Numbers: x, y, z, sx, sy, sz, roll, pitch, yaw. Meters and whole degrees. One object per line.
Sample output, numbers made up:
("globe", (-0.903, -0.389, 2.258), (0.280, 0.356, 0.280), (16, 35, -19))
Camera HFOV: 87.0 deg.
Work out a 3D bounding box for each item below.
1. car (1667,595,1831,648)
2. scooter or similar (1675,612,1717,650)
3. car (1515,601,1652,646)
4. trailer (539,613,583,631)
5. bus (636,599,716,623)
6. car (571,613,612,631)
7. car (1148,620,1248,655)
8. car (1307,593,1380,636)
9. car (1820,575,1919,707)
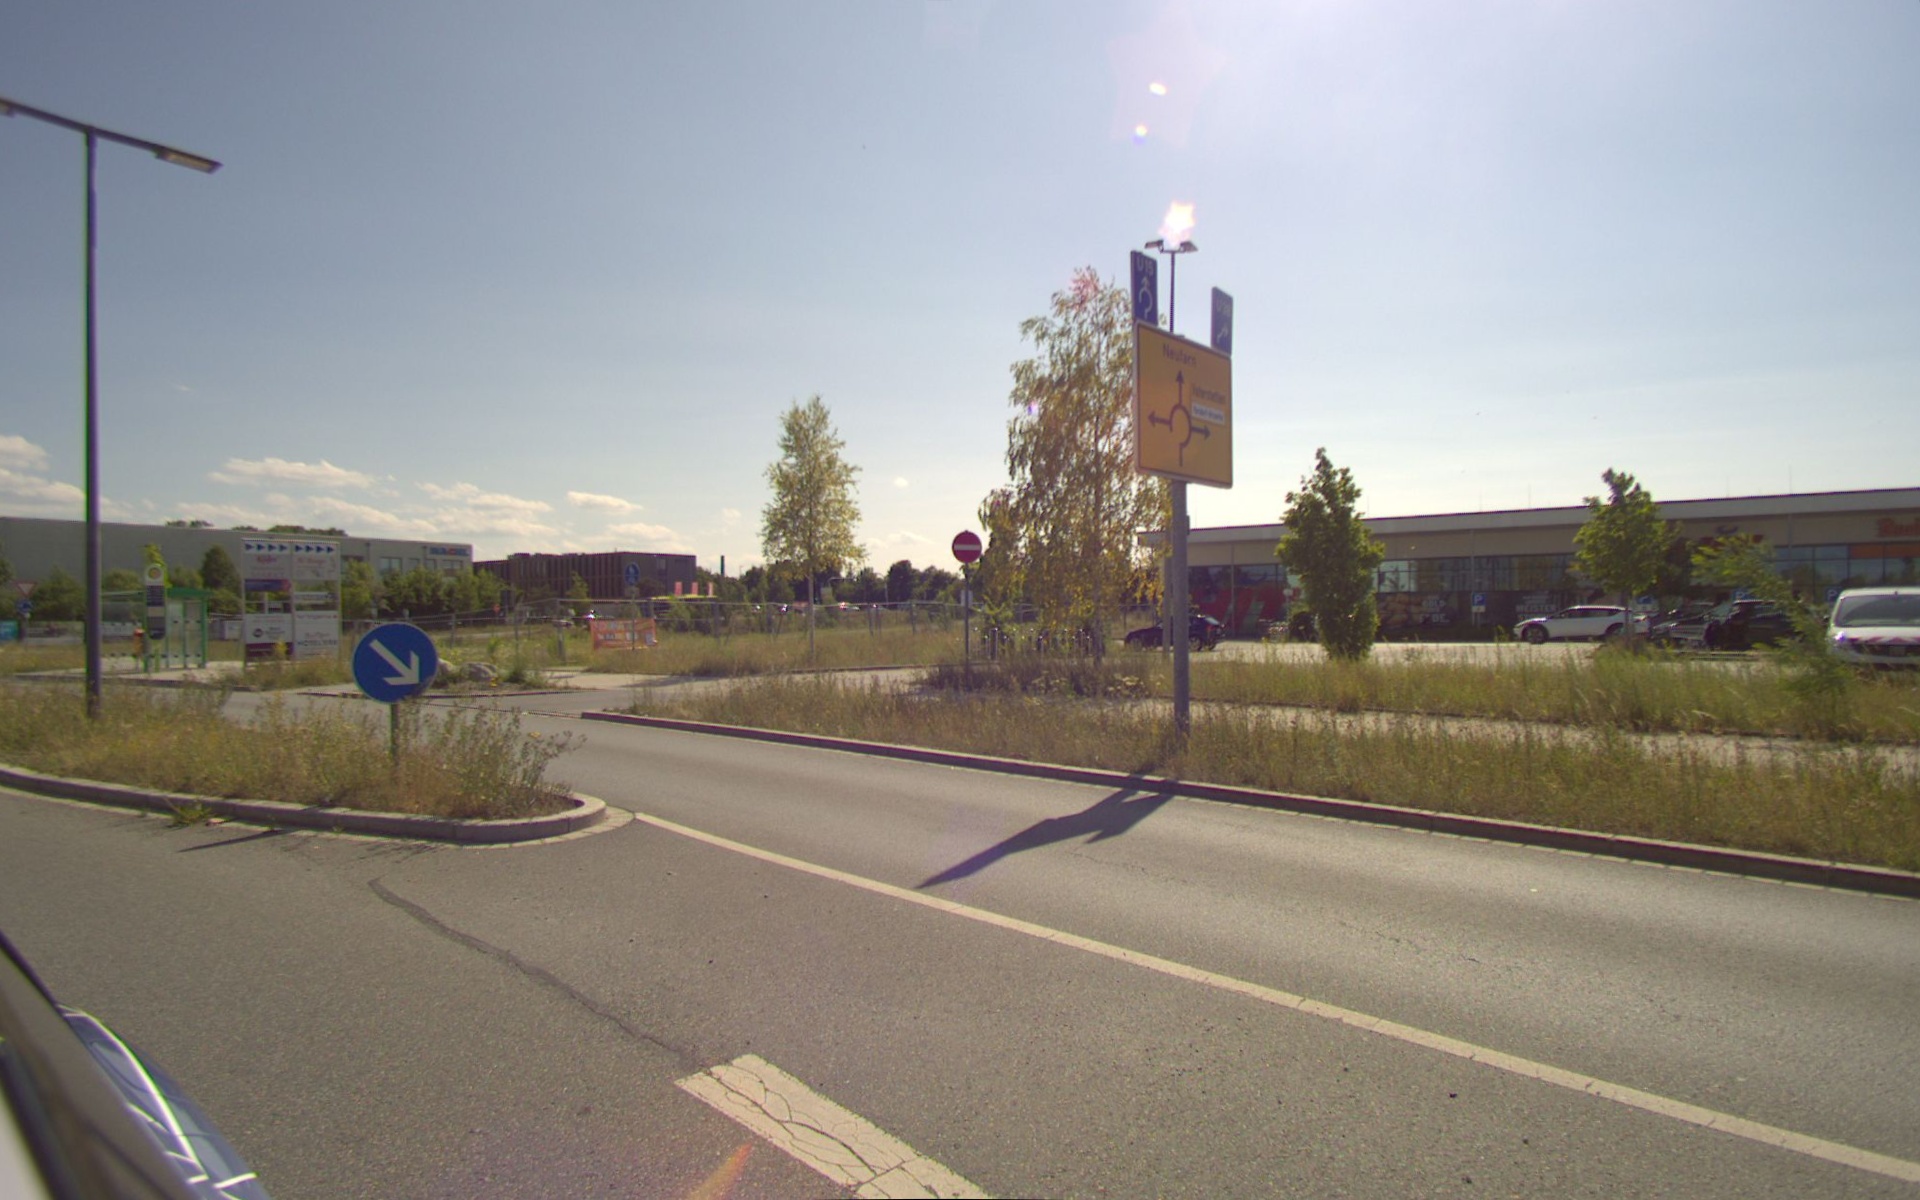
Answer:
("car", (23.757, 0.660, 30.647), (3.799, 1.520, 1.711), (-2, -1, 37))
("scooter or similar", (21.839, 0.908, 30.024), (0.945, 1.087, 0.643), (-2, -1, 40))
("car", (24.994, 0.916, 40.627), (4.481, 1.719, 1.850), (-1, -1, 39))
("trailer", (-41.202, 2.242, 104.611), (1.820, 1.874, 3.962), (-1, -1, 28))
("bus", (-33.550, 1.243, 120.360), (2.564, 2.756, 11.477), (-1, 0, 23))
("car", (-39.316, 2.303, 108.069), (1.820, 1.874, 3.962), (-1, -1, 28))
("car", (10.168, 1.573, 43.263), (3.833, 1.434, 1.752), (-1, -1, 33))
("car", (19.335, 0.734, 50.868), (2.222, 1.992, 6.624), (-2, -1, 31))
("car", (16.464, 0.641, 17.550), (2.088, 2.029, 5.154), (-1, -1, 43))
